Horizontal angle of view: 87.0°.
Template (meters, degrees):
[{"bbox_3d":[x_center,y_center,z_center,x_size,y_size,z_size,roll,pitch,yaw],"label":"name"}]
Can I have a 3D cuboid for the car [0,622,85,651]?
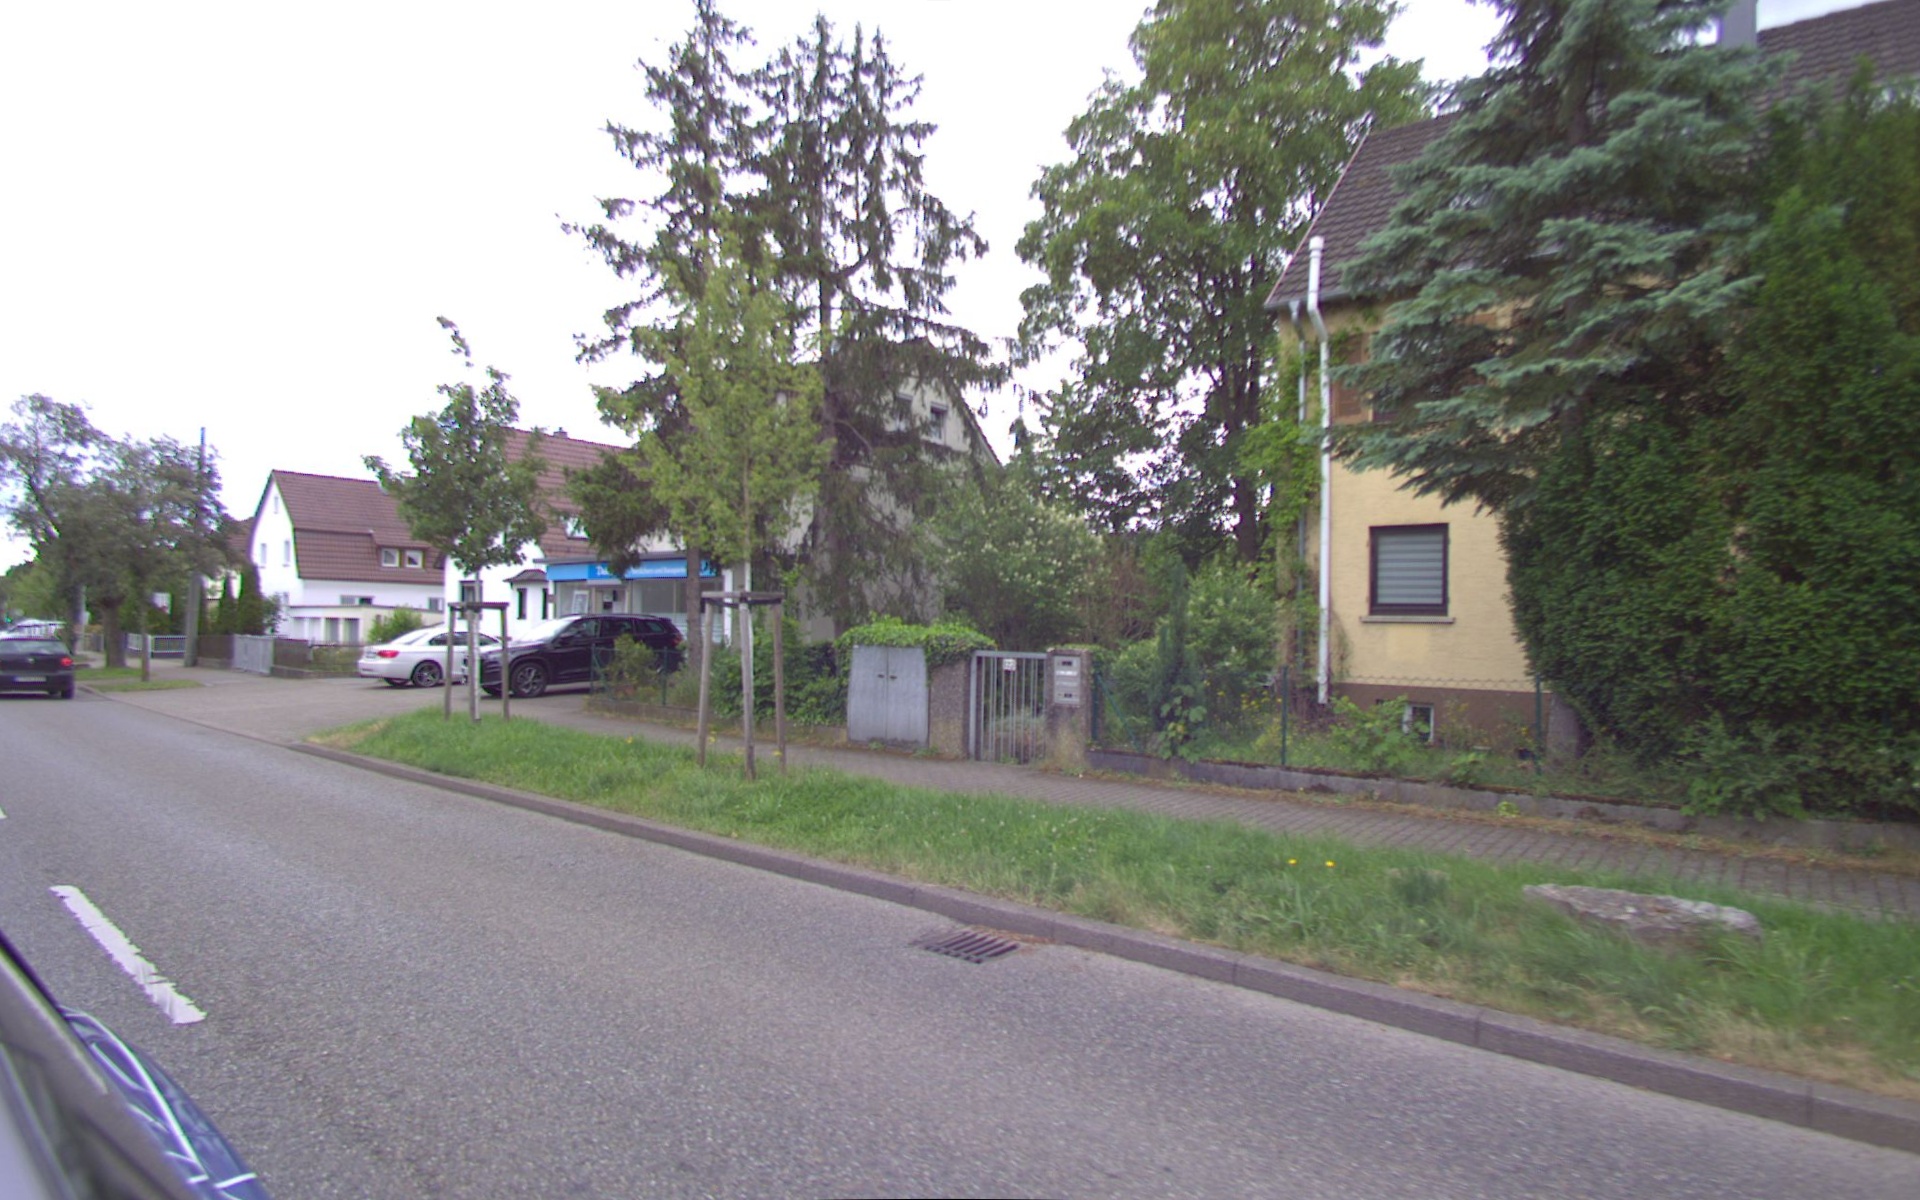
[{"bbox_3d":[-87.624,3.485,96.803,5.526,2.583,2.137,3,-3,-28],"label":"car"}]

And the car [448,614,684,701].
[{"bbox_3d":[-8.305,1.134,21.572,1.974,1.630,4.284,-1,-1,45],"label":"car"}]

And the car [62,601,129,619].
[{"bbox_3d":[-81.319,0.945,95.218,2.000,1.633,4.583,-3,-3,42],"label":"car"}]

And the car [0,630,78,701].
[{"bbox_3d":[-21.653,1.465,23.230,3.468,1.483,1.558,-1,-4,40],"label":"car"}]

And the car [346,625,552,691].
[{"bbox_3d":[-12.652,1.382,25.301,1.813,1.378,4.238,-1,0,37],"label":"car"}]
